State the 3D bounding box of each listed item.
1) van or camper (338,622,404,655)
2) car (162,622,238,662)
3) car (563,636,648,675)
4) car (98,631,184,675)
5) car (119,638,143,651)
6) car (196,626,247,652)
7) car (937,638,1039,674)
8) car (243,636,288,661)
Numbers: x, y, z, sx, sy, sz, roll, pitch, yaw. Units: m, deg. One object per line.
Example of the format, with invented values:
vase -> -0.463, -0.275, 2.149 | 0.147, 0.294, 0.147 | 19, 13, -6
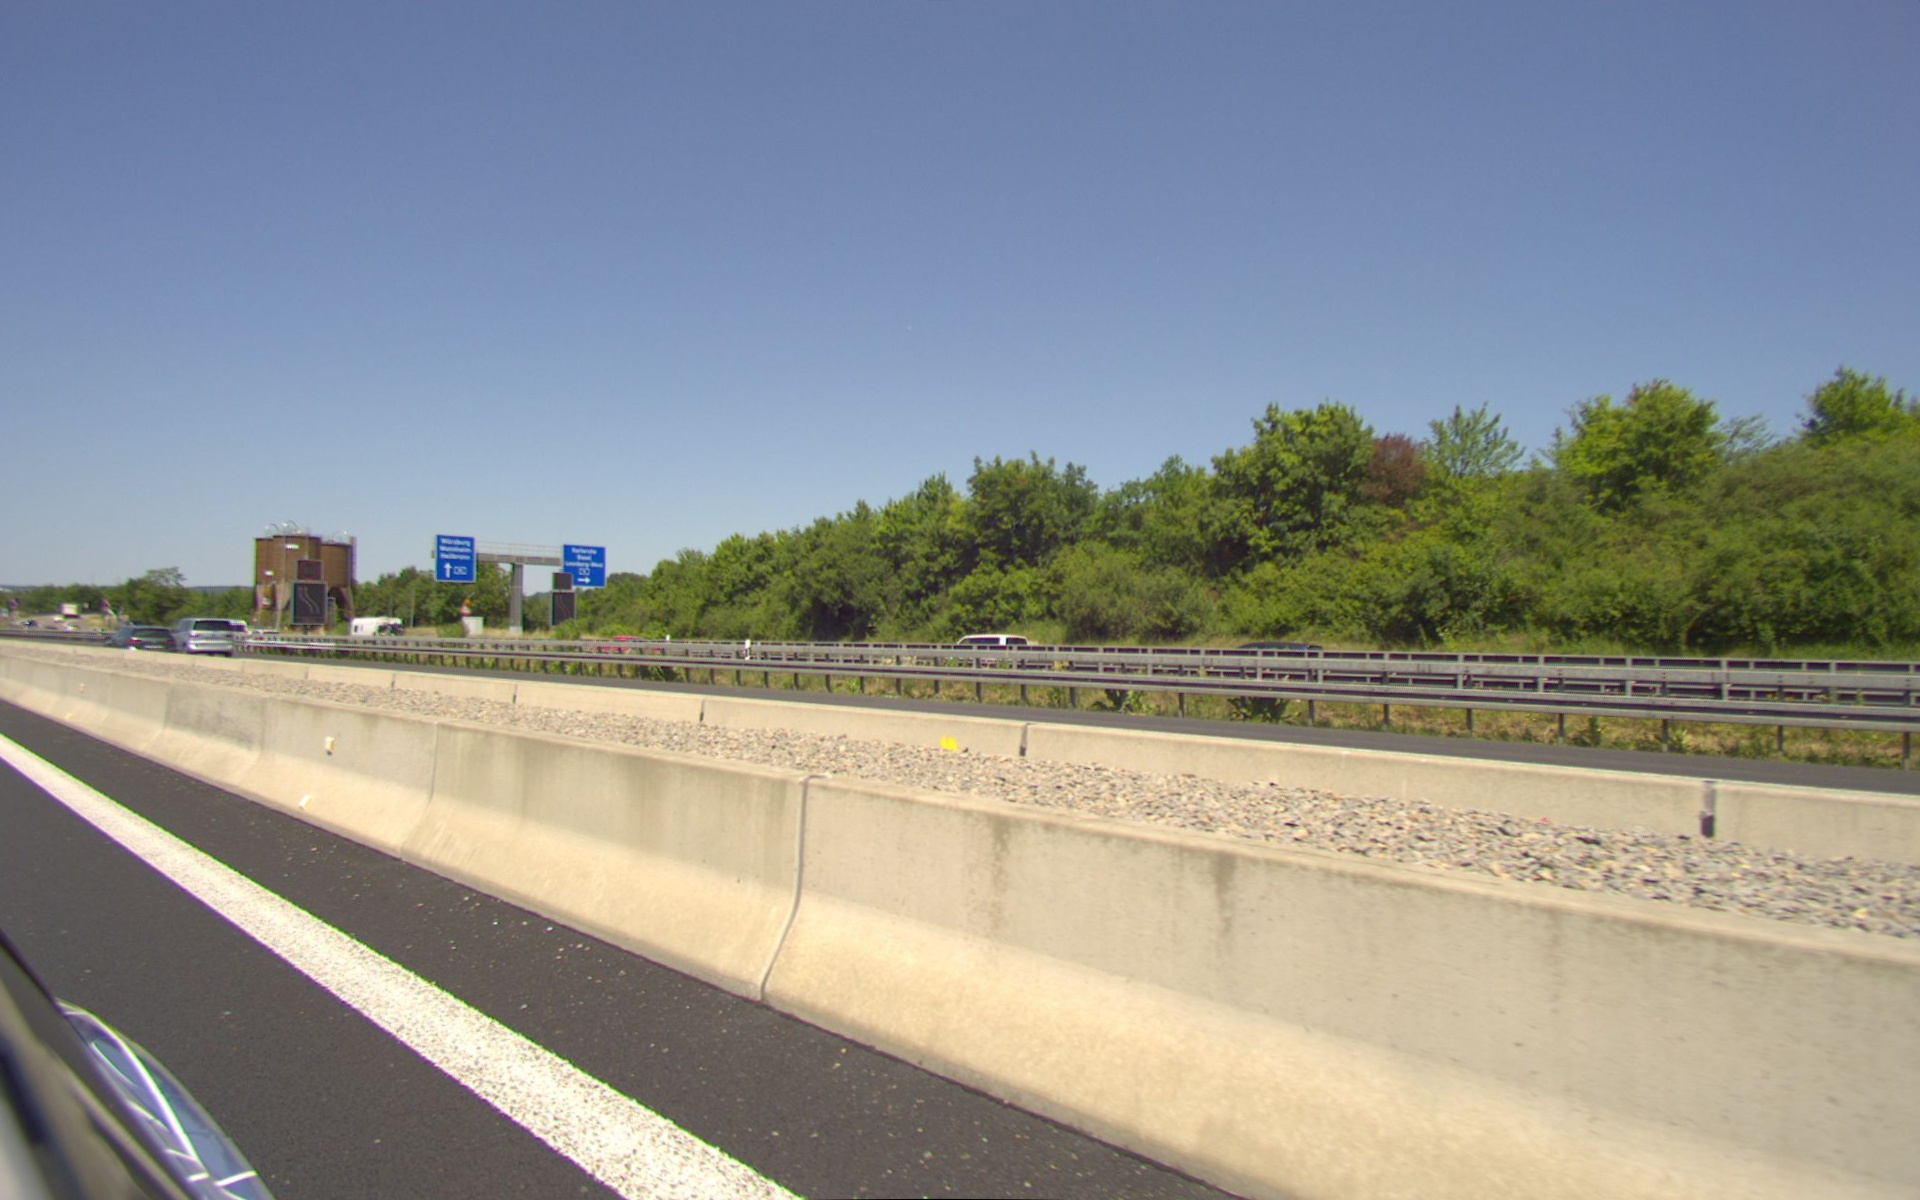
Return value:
van or camper -> -43.275, 2.766, 74.288 | 6.963, 2.272, 2.085 | -1, 0, 41
car -> -37.486, 2.052, 49.860 | 5.083, 1.856, 1.972 | -2, -4, 42
car -> -16.201, 2.491, 46.163 | 3.999, 1.589, 1.972 | -1, 0, 42
car -> -31.935, 2.049, 39.446 | 4.303, 1.608, 1.776 | -2, -2, 40
car -> -106.736, 5.715, 130.259 | 3.998, 1.522, 1.776 | -1, 0, 41
car -> -73.589, 3.882, 100.778 | 5.960, 2.521, 2.767 | -2, -4, 41
car -> 1.298, 2.631, 48.538 | 1.969, 1.589, 4.998 | 2, -2, -43
car -> -54.625, 3.799, 79.580 | 4.450, 1.741, 1.776 | -1, 0, 40
